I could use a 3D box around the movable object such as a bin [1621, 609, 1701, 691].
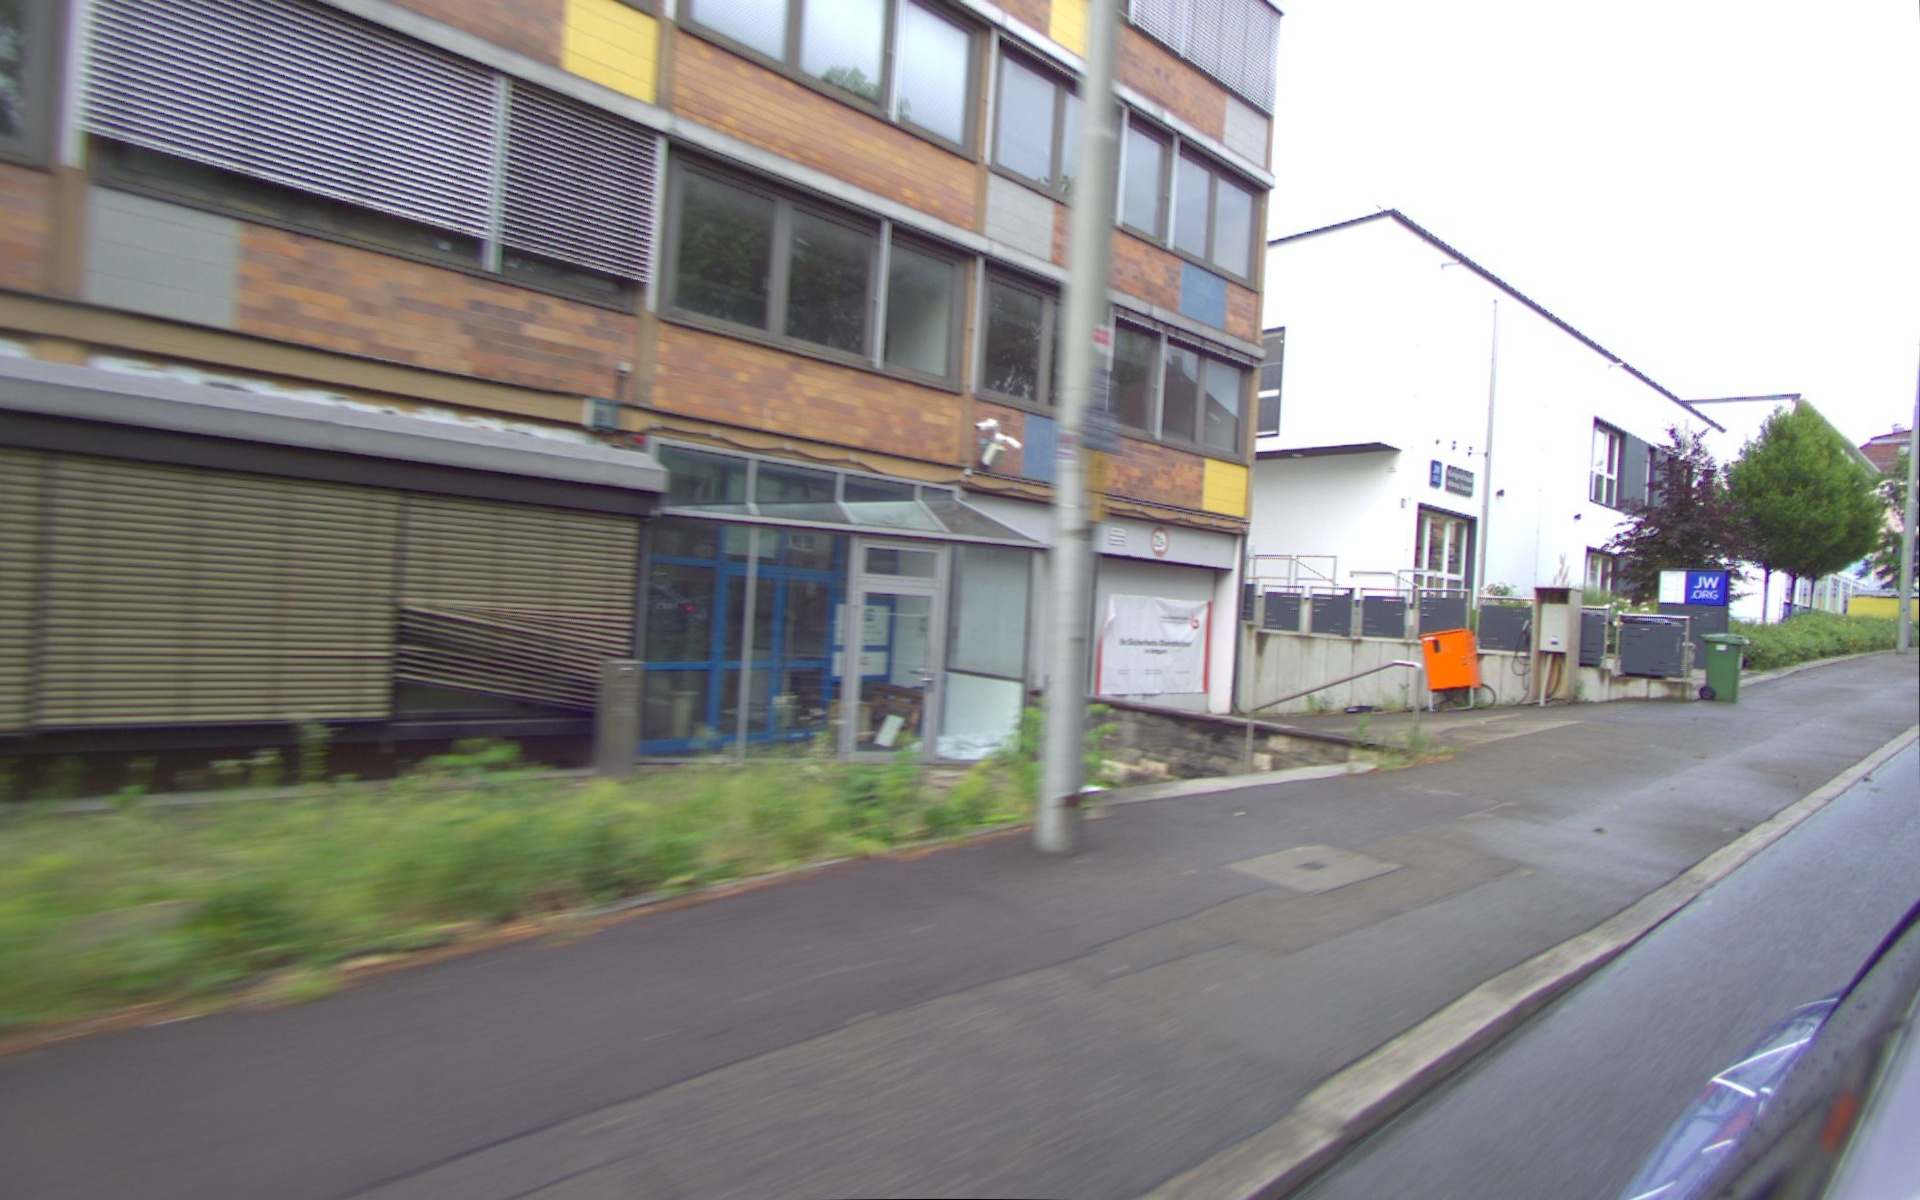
[{"bbox_3d":[10.212,0.705,14.743,0.764,1.095,0.697,1,4,-39],"label":"movable object such as a bin"}]

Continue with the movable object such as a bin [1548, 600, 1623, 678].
[{"bbox_3d":[9.557,0.577,15.465,0.764,1.095,0.697,1,4,-39],"label":"movable object such as a bin"}]

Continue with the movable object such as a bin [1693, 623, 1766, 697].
[{"bbox_3d":[10.824,0.826,14.236,0.673,0.947,0.621,1,4,-39],"label":"movable object such as a bin"}]
